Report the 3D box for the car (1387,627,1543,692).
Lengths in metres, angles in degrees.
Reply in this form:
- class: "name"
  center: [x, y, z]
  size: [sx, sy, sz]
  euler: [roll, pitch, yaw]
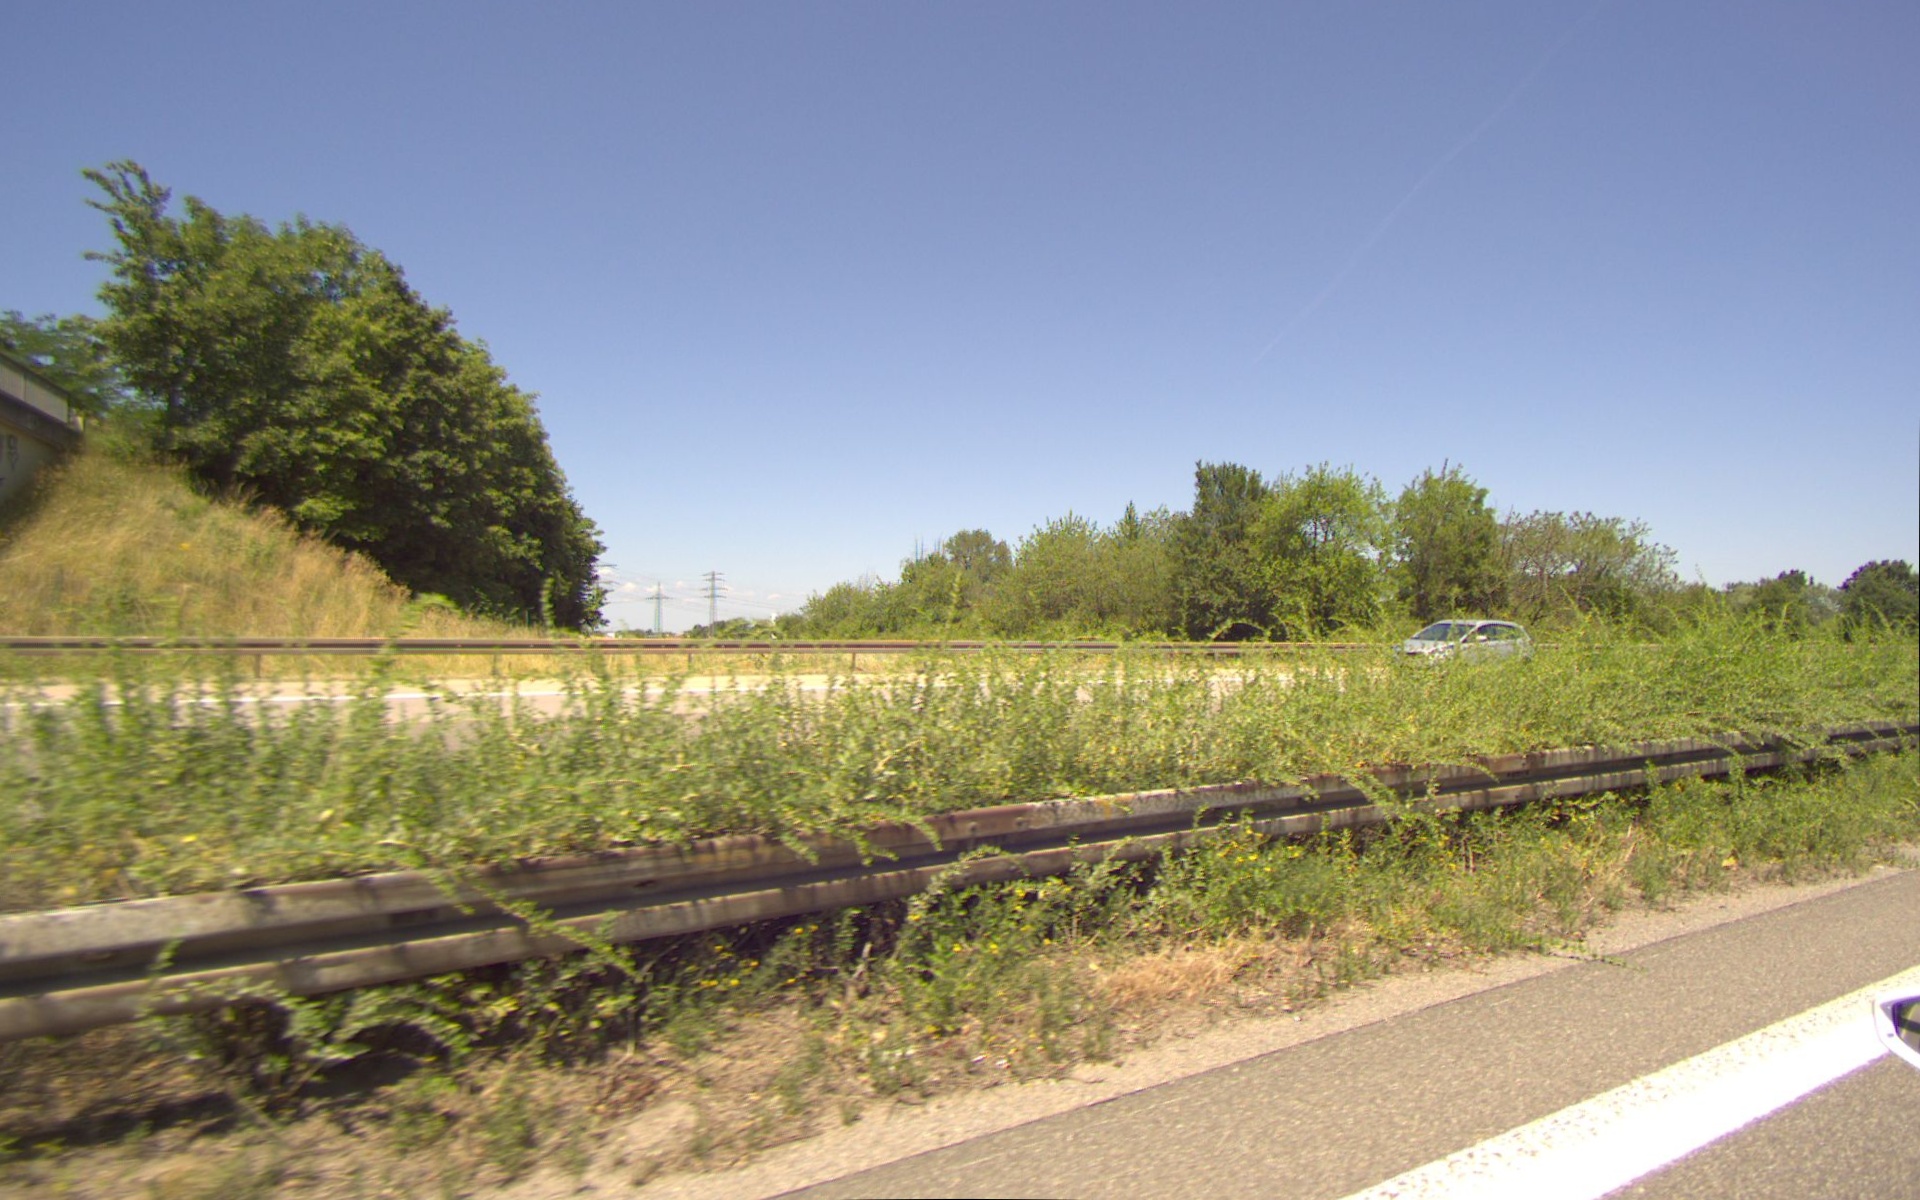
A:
- class: "car"
  center: [13.449, 1.560, 26.689]
  size: [4.355, 1.594, 1.701]
  euler: [2, -2, -32]
